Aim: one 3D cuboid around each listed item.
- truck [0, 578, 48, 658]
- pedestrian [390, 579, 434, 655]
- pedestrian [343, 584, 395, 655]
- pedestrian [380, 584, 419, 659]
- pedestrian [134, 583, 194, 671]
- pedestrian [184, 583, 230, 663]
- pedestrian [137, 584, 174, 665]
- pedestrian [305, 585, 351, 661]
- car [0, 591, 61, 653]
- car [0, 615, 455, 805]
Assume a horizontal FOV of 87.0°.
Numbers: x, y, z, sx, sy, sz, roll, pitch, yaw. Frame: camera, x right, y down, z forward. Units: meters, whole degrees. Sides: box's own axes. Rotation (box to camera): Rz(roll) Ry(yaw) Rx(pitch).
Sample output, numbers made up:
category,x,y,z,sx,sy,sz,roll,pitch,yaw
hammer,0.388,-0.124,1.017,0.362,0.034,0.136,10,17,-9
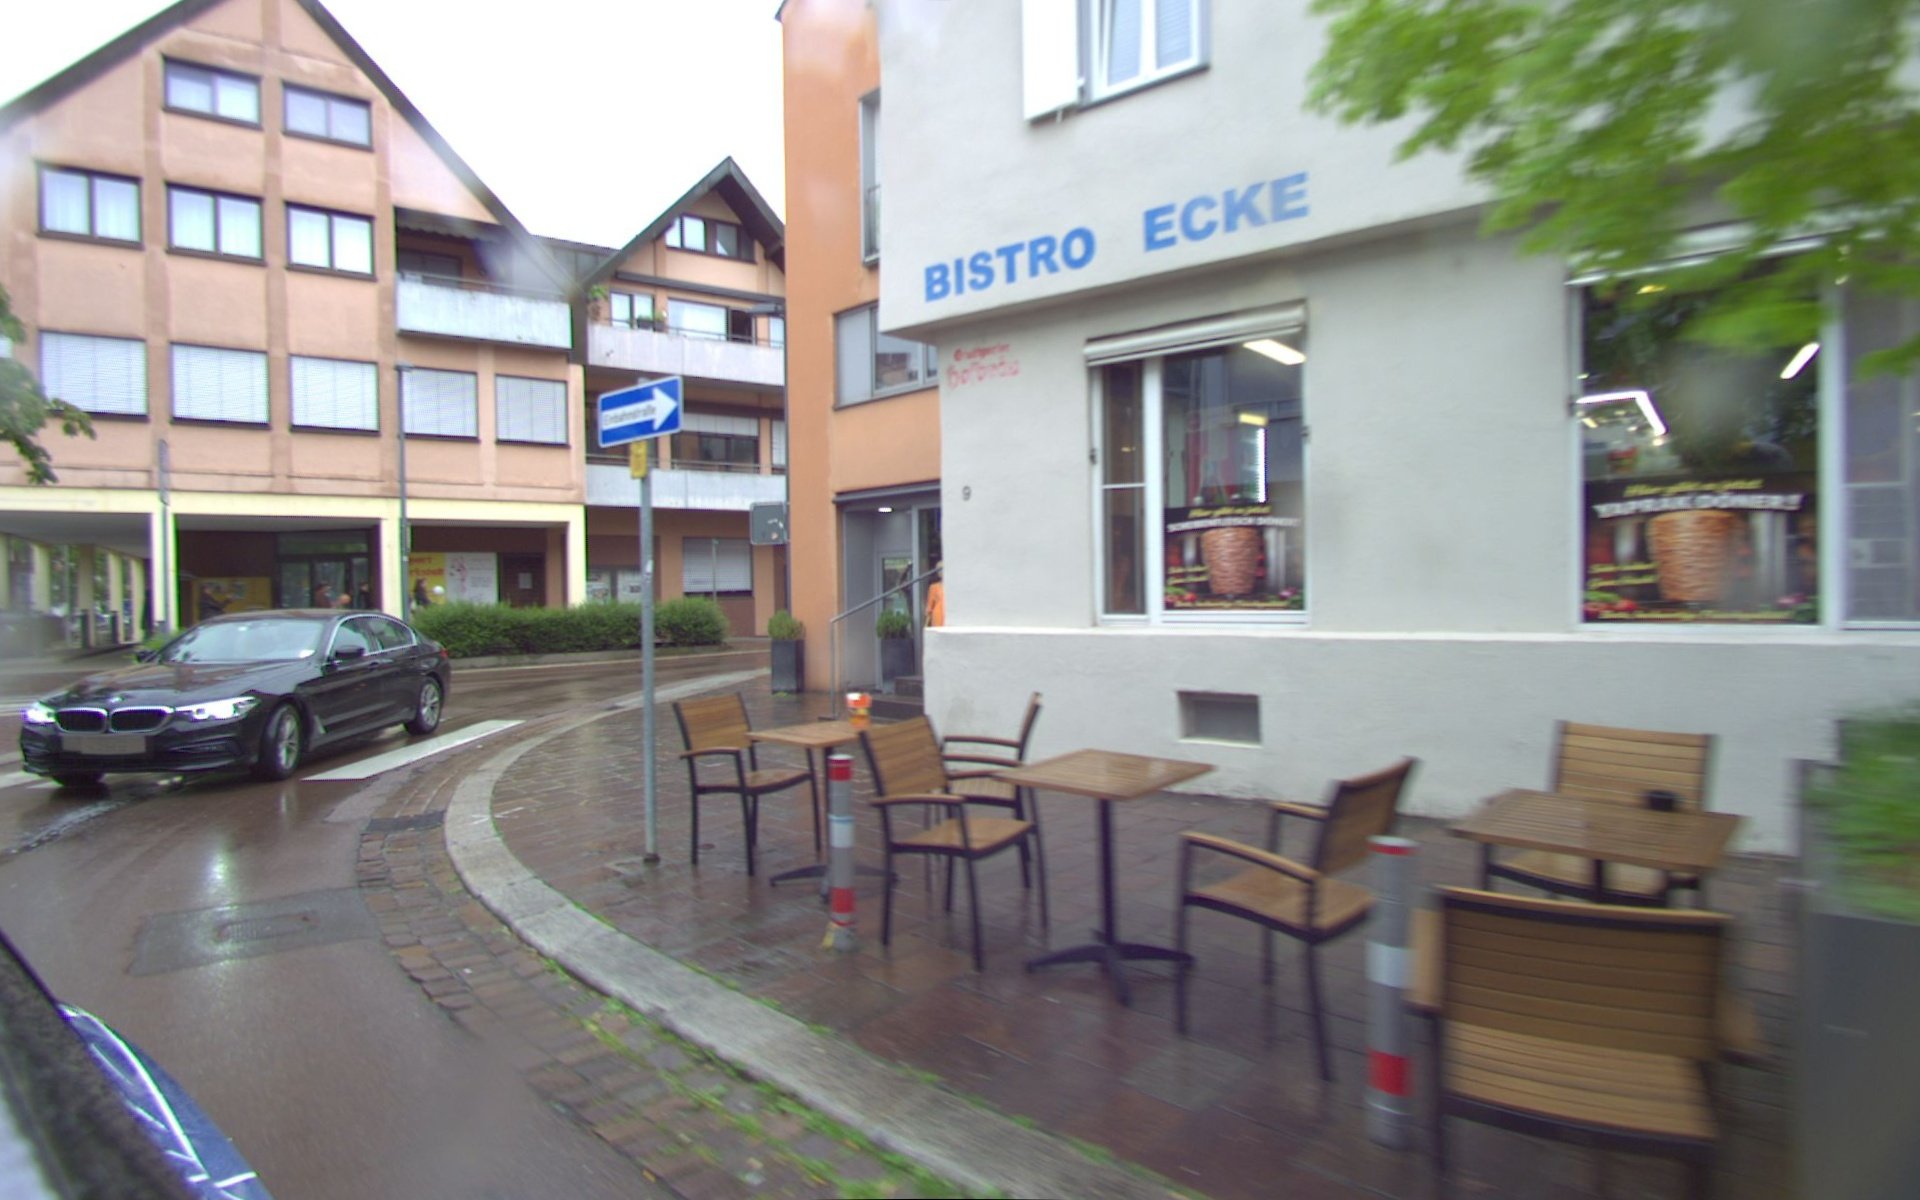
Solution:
category,x,y,z,sx,sy,sz,roll,pitch,yaw
truck,-23.593,0.456,23.033,3.933,1.821,1.773,-2,1,-33
pedestrian,-12.488,0.372,23.057,0.807,1.674,0.700,-1,1,-33
pedestrian,-13.868,0.439,23.748,0.699,1.631,0.795,-1,1,5
pedestrian,-13.051,0.494,23.570,0.721,1.702,0.727,-1,1,-32
pedestrian,-16.351,0.533,20.816,0.877,1.762,0.738,-1,1,-33
pedestrian,-16.410,0.495,22.075,0.730,1.702,0.637,-1,1,-32
pedestrian,-16.878,0.501,21.236,0.512,1.676,0.543,-1,1,-33
pedestrian,-14.031,0.492,22.494,0.811,1.616,0.747,-1,2,-29
car,-21.875,0.502,21.118,4.396,1.285,1.773,-2,1,-33
car,-6.891,0.875,9.985,1.919,1.413,4.424,0,0,-5
